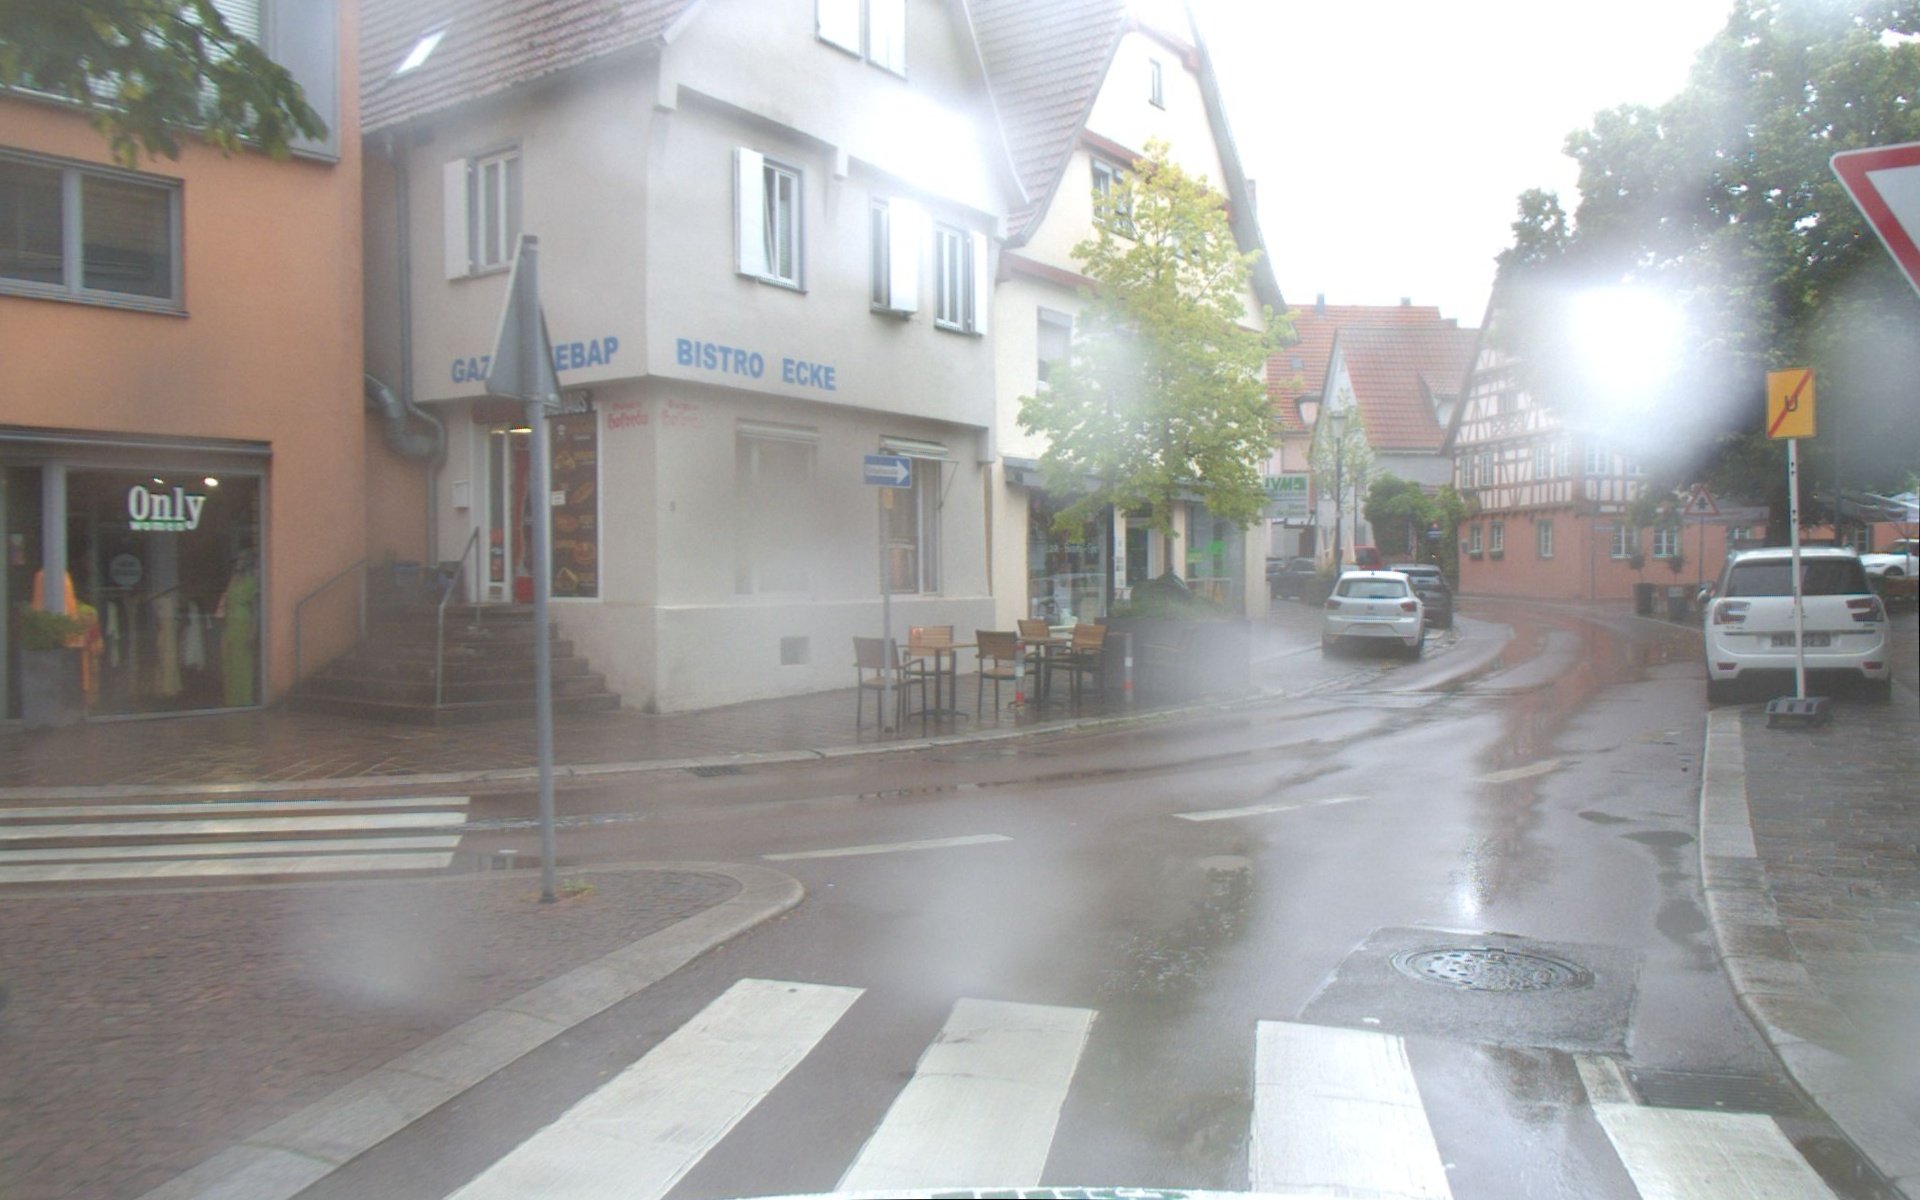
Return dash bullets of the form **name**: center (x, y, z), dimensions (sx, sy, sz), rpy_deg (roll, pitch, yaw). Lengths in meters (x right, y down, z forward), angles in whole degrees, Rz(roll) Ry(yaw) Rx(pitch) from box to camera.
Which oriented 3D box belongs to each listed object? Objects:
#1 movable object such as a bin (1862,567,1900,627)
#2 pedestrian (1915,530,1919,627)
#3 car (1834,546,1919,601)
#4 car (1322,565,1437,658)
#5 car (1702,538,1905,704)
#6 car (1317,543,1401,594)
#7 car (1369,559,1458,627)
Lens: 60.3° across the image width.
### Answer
- **movable object such as a bin**: center (17.591, -0.056, 31.603), dimensions (0.527, 1.102, 0.728), rpy_deg (-2, 1, 23)
- **pedestrian**: center (17.822, -0.379, 29.892), dimensions (0.870, 1.743, 0.886), rpy_deg (0, -1, 38)
- **car**: center (31.521, -0.925, 54.479), dimensions (4.514, 1.661, 1.997), rpy_deg (-2, 3, -8)
- **car**: center (7.641, 0.147, 29.886), dimensions (1.810, 1.477, 4.076), rpy_deg (0, 2, 17)
- **car**: center (9.517, 0.222, 18.953), dimensions (1.751, 1.668, 4.438), rpy_deg (0, 0, 23)
- **car**: center (15.238, -1.224, 63.399), dimensions (1.858, 1.843, 3.996), rpy_deg (1, 2, -6)
- **car**: center (11.064, -0.147, 40.610), dimensions (1.835, 1.567, 4.404), rpy_deg (0, 0, 12)
